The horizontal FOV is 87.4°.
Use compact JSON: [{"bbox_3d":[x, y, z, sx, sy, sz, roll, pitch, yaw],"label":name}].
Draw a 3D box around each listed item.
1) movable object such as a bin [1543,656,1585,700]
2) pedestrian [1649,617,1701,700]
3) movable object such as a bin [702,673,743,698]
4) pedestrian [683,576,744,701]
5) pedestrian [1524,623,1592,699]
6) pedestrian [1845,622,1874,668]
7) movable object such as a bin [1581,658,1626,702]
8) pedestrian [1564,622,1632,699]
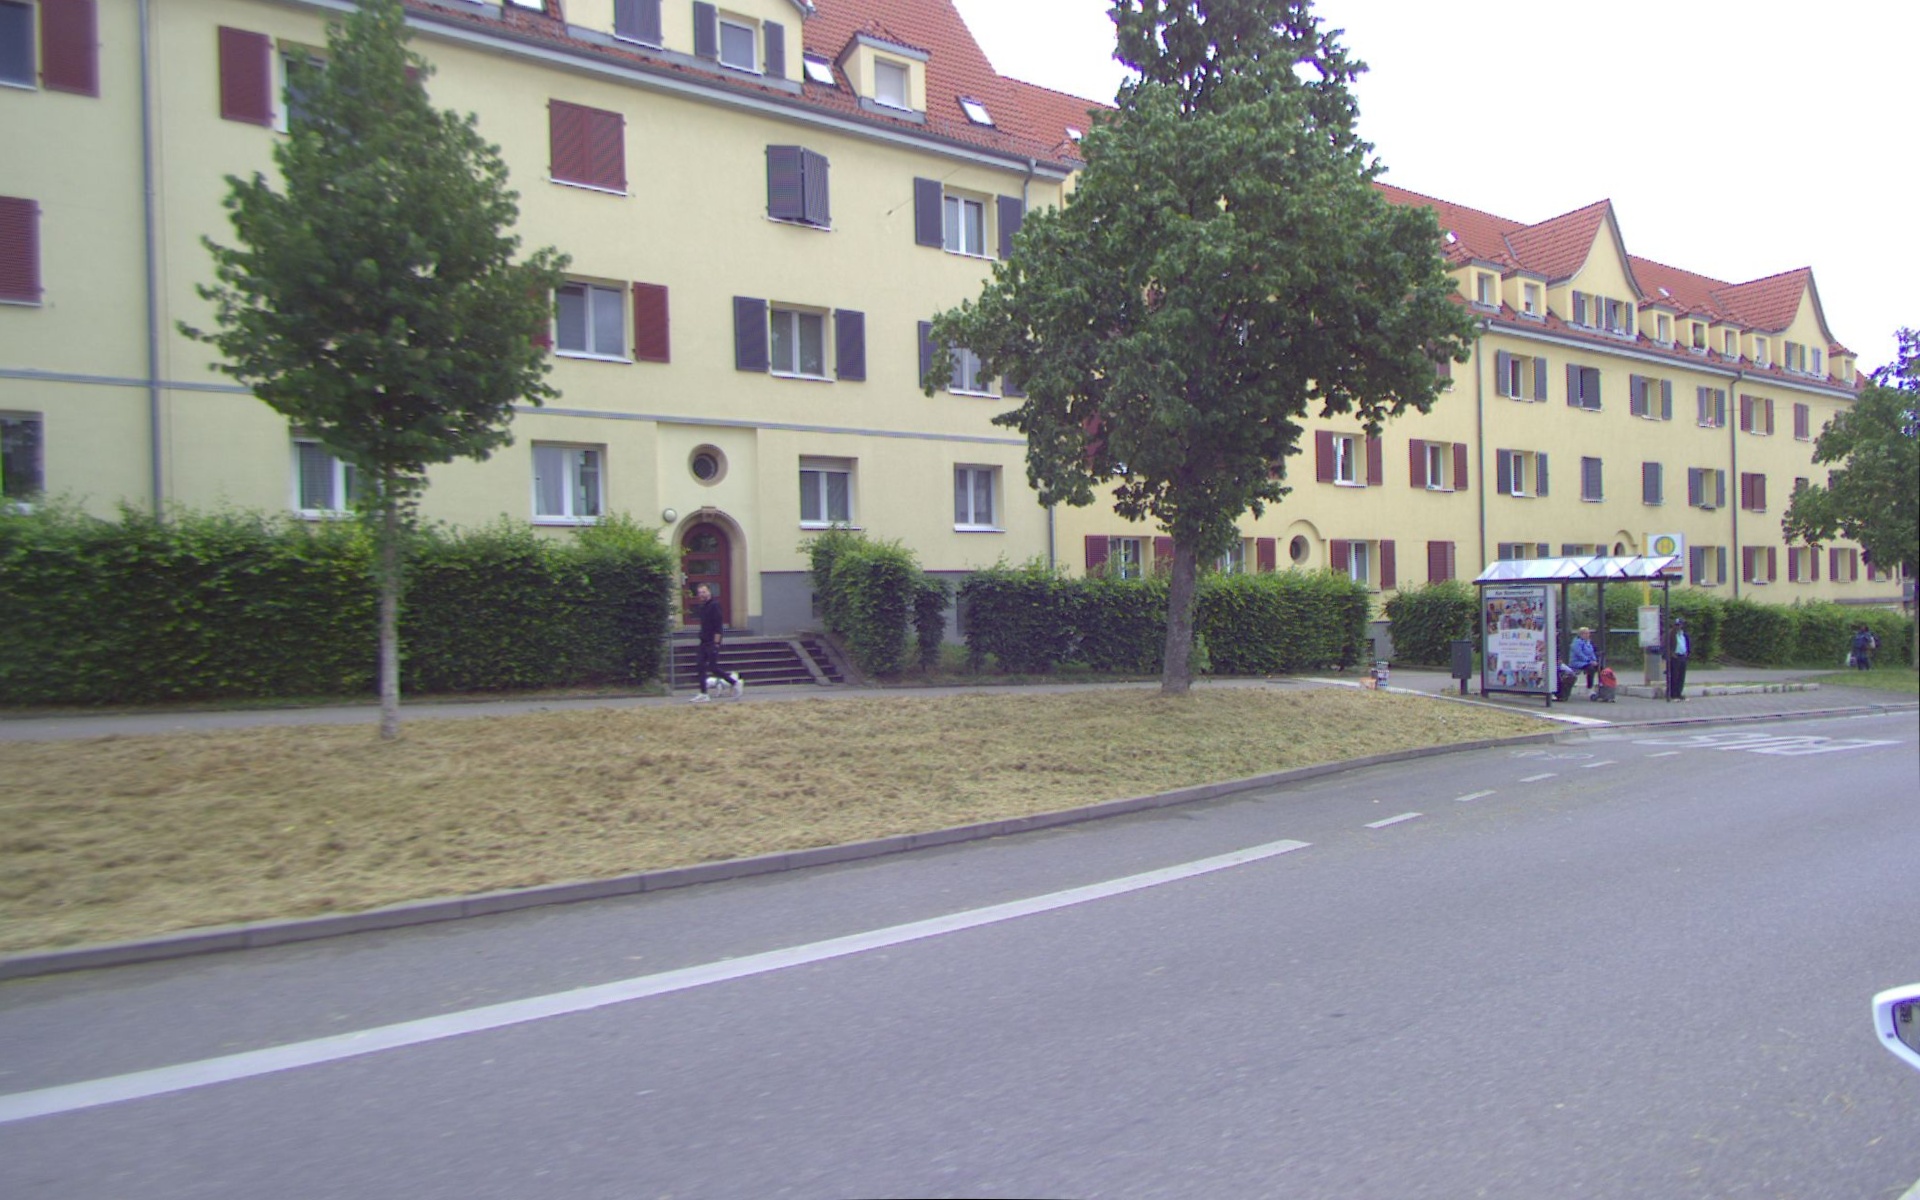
[{"bbox_3d":[12.251,1.569,20.372,0.657,0.837,0.462,1,1,-29],"label":"movable object such as a bin"},{"bbox_3d":[15.604,1.265,21.918,0.850,1.750,0.595,1,0,-27],"label":"pedestrian"},{"bbox_3d":[-3.704,1.329,15.673,0.573,0.352,0.305,1,-1,-24],"label":"movable object such as a bin"},{"bbox_3d":[-3.641,0.562,14.841,0.744,1.803,0.511,1,-1,-30],"label":"pedestrian"},{"bbox_3d":[12.182,1.221,20.476,0.796,1.493,0.895,1,1,-29],"label":"pedestrian"},{"bbox_3d":[32.526,1.626,36.319,0.611,1.640,0.637,1,-1,-30],"label":"pedestrian"},{"bbox_3d":[13.429,1.651,20.951,0.657,0.857,0.534,1,1,-29],"label":"movable object such as a bin"},{"bbox_3d":[13.388,1.252,21.091,0.797,1.530,0.895,1,0,-29],"label":"pedestrian"}]
